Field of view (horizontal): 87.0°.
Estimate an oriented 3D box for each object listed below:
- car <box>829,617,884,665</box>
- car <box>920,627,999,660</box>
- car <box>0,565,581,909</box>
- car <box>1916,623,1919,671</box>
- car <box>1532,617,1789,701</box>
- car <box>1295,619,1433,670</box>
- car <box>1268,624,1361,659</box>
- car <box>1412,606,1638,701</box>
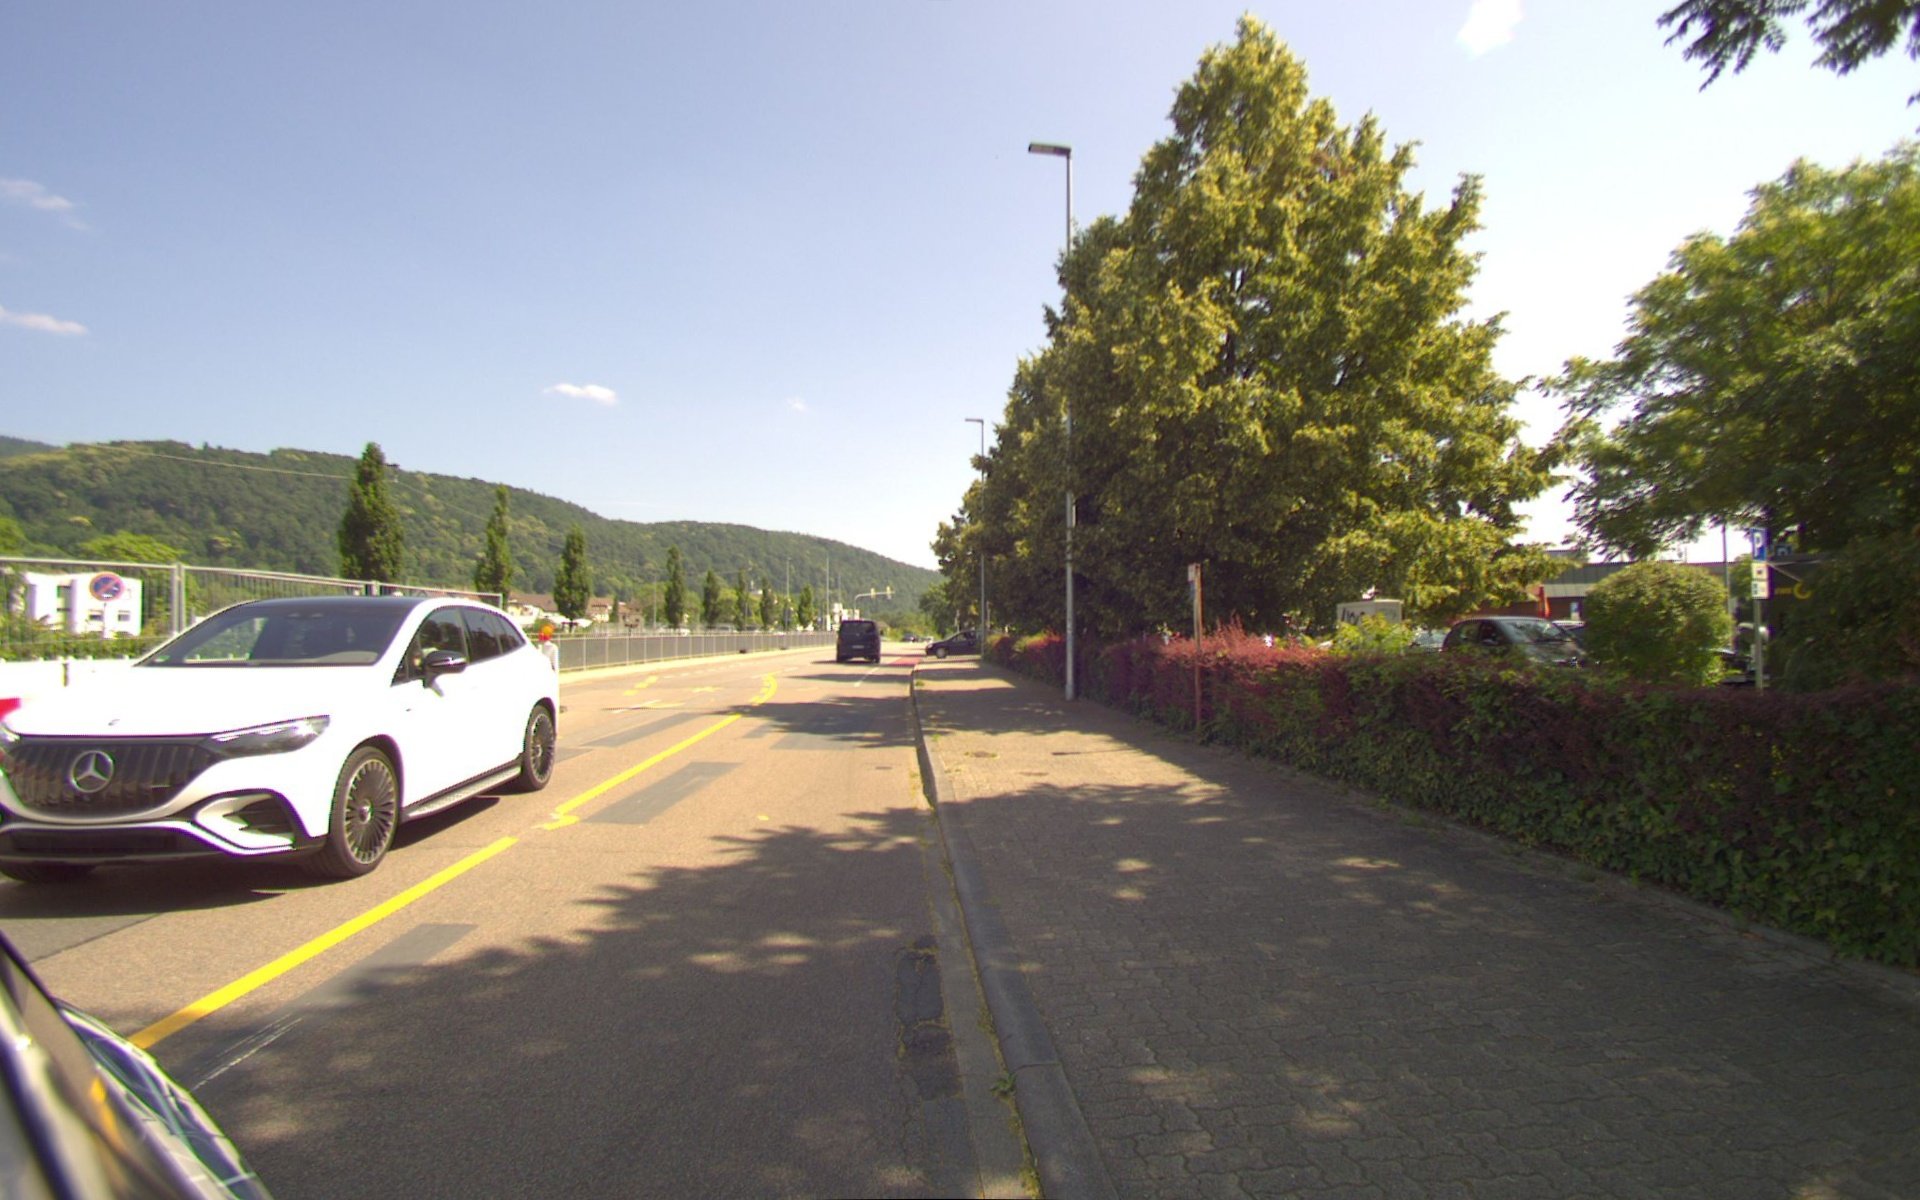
[{"bbox_3d":[-4.702,1.856,46.707,2.152,1.983,5.447,2,-2,-2],"label":"car"},{"bbox_3d":[0.000,2.228,52.088,3.946,1.475,1.879,-3,-2,2],"label":"car"},{"bbox_3d":[-4.506,0.742,7.422,1.969,1.657,5.037,0,-2,-5],"label":"car"},{"bbox_3d":[30.428,1.341,29.692,3.931,1.400,1.779,0,-3,-19],"label":"car"},{"bbox_3d":[13.790,1.136,20.307,1.834,1.464,4.372,1,-2,-5],"label":"car"},{"bbox_3d":[14.133,1.549,35.447,4.238,1.699,1.868,0,-2,-19],"label":"car"},{"bbox_3d":[16.361,1.912,46.920,1.888,1.564,4.155,0,-2,-19],"label":"car"},{"bbox_3d":[11.278,1.055,20.613,1.834,1.699,4.372,2,-2,-5],"label":"car"}]
